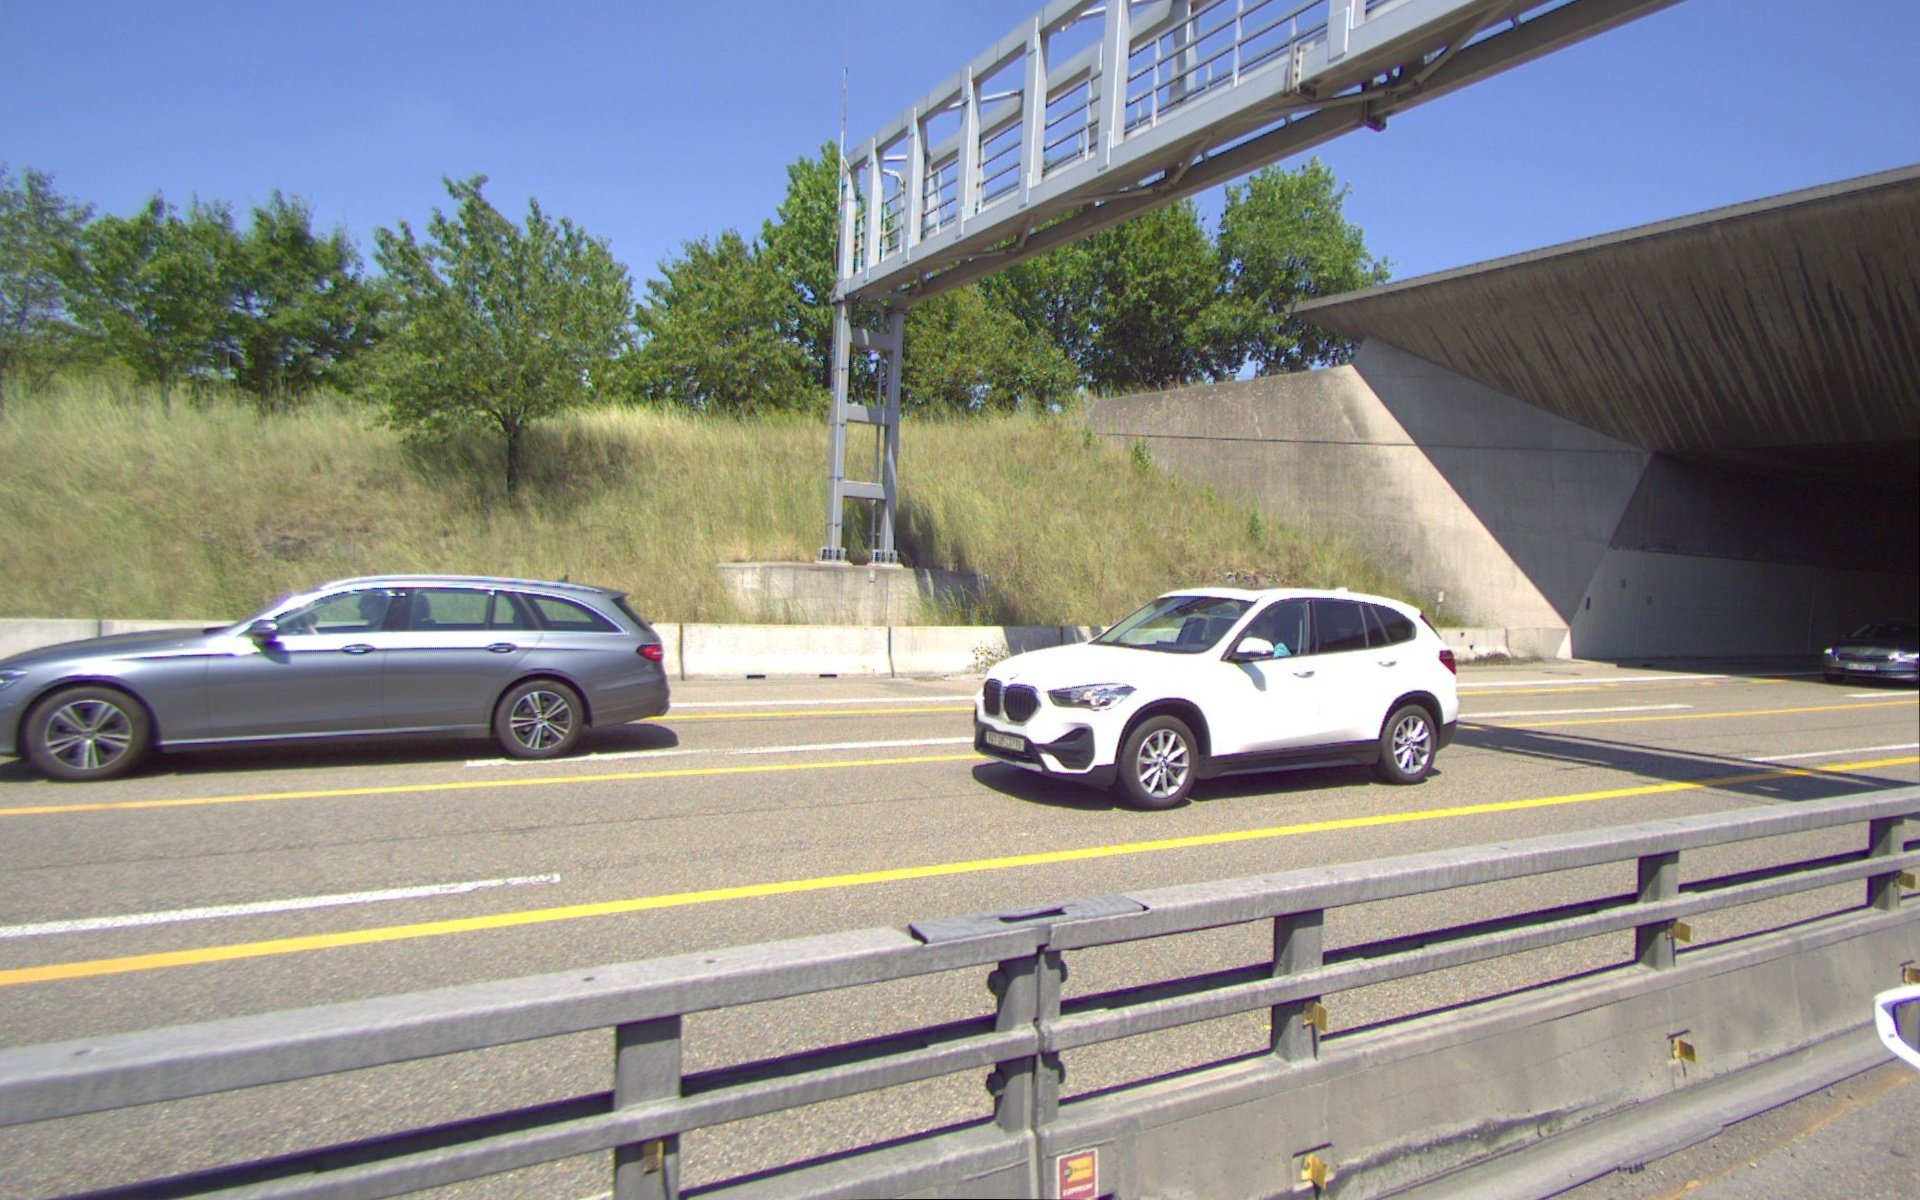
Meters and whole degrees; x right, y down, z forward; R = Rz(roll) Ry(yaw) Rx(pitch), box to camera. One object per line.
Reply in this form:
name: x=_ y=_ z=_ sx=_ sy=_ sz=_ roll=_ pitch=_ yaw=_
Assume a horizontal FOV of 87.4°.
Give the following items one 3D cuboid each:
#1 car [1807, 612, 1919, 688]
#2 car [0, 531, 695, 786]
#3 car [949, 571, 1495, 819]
car: x=21.052 y=1.058 z=22.498 sx=4.510 sy=1.536 sz=1.765 roll=1 pitch=0 yaw=-30
car: x=-4.812 y=0.413 z=8.426 sx=4.745 sy=1.689 sz=1.767 roll=1 pitch=0 yaw=-27
car: x=2.253 y=0.637 z=8.334 sx=4.392 sy=1.598 sz=1.766 roll=1 pitch=0 yaw=-29
